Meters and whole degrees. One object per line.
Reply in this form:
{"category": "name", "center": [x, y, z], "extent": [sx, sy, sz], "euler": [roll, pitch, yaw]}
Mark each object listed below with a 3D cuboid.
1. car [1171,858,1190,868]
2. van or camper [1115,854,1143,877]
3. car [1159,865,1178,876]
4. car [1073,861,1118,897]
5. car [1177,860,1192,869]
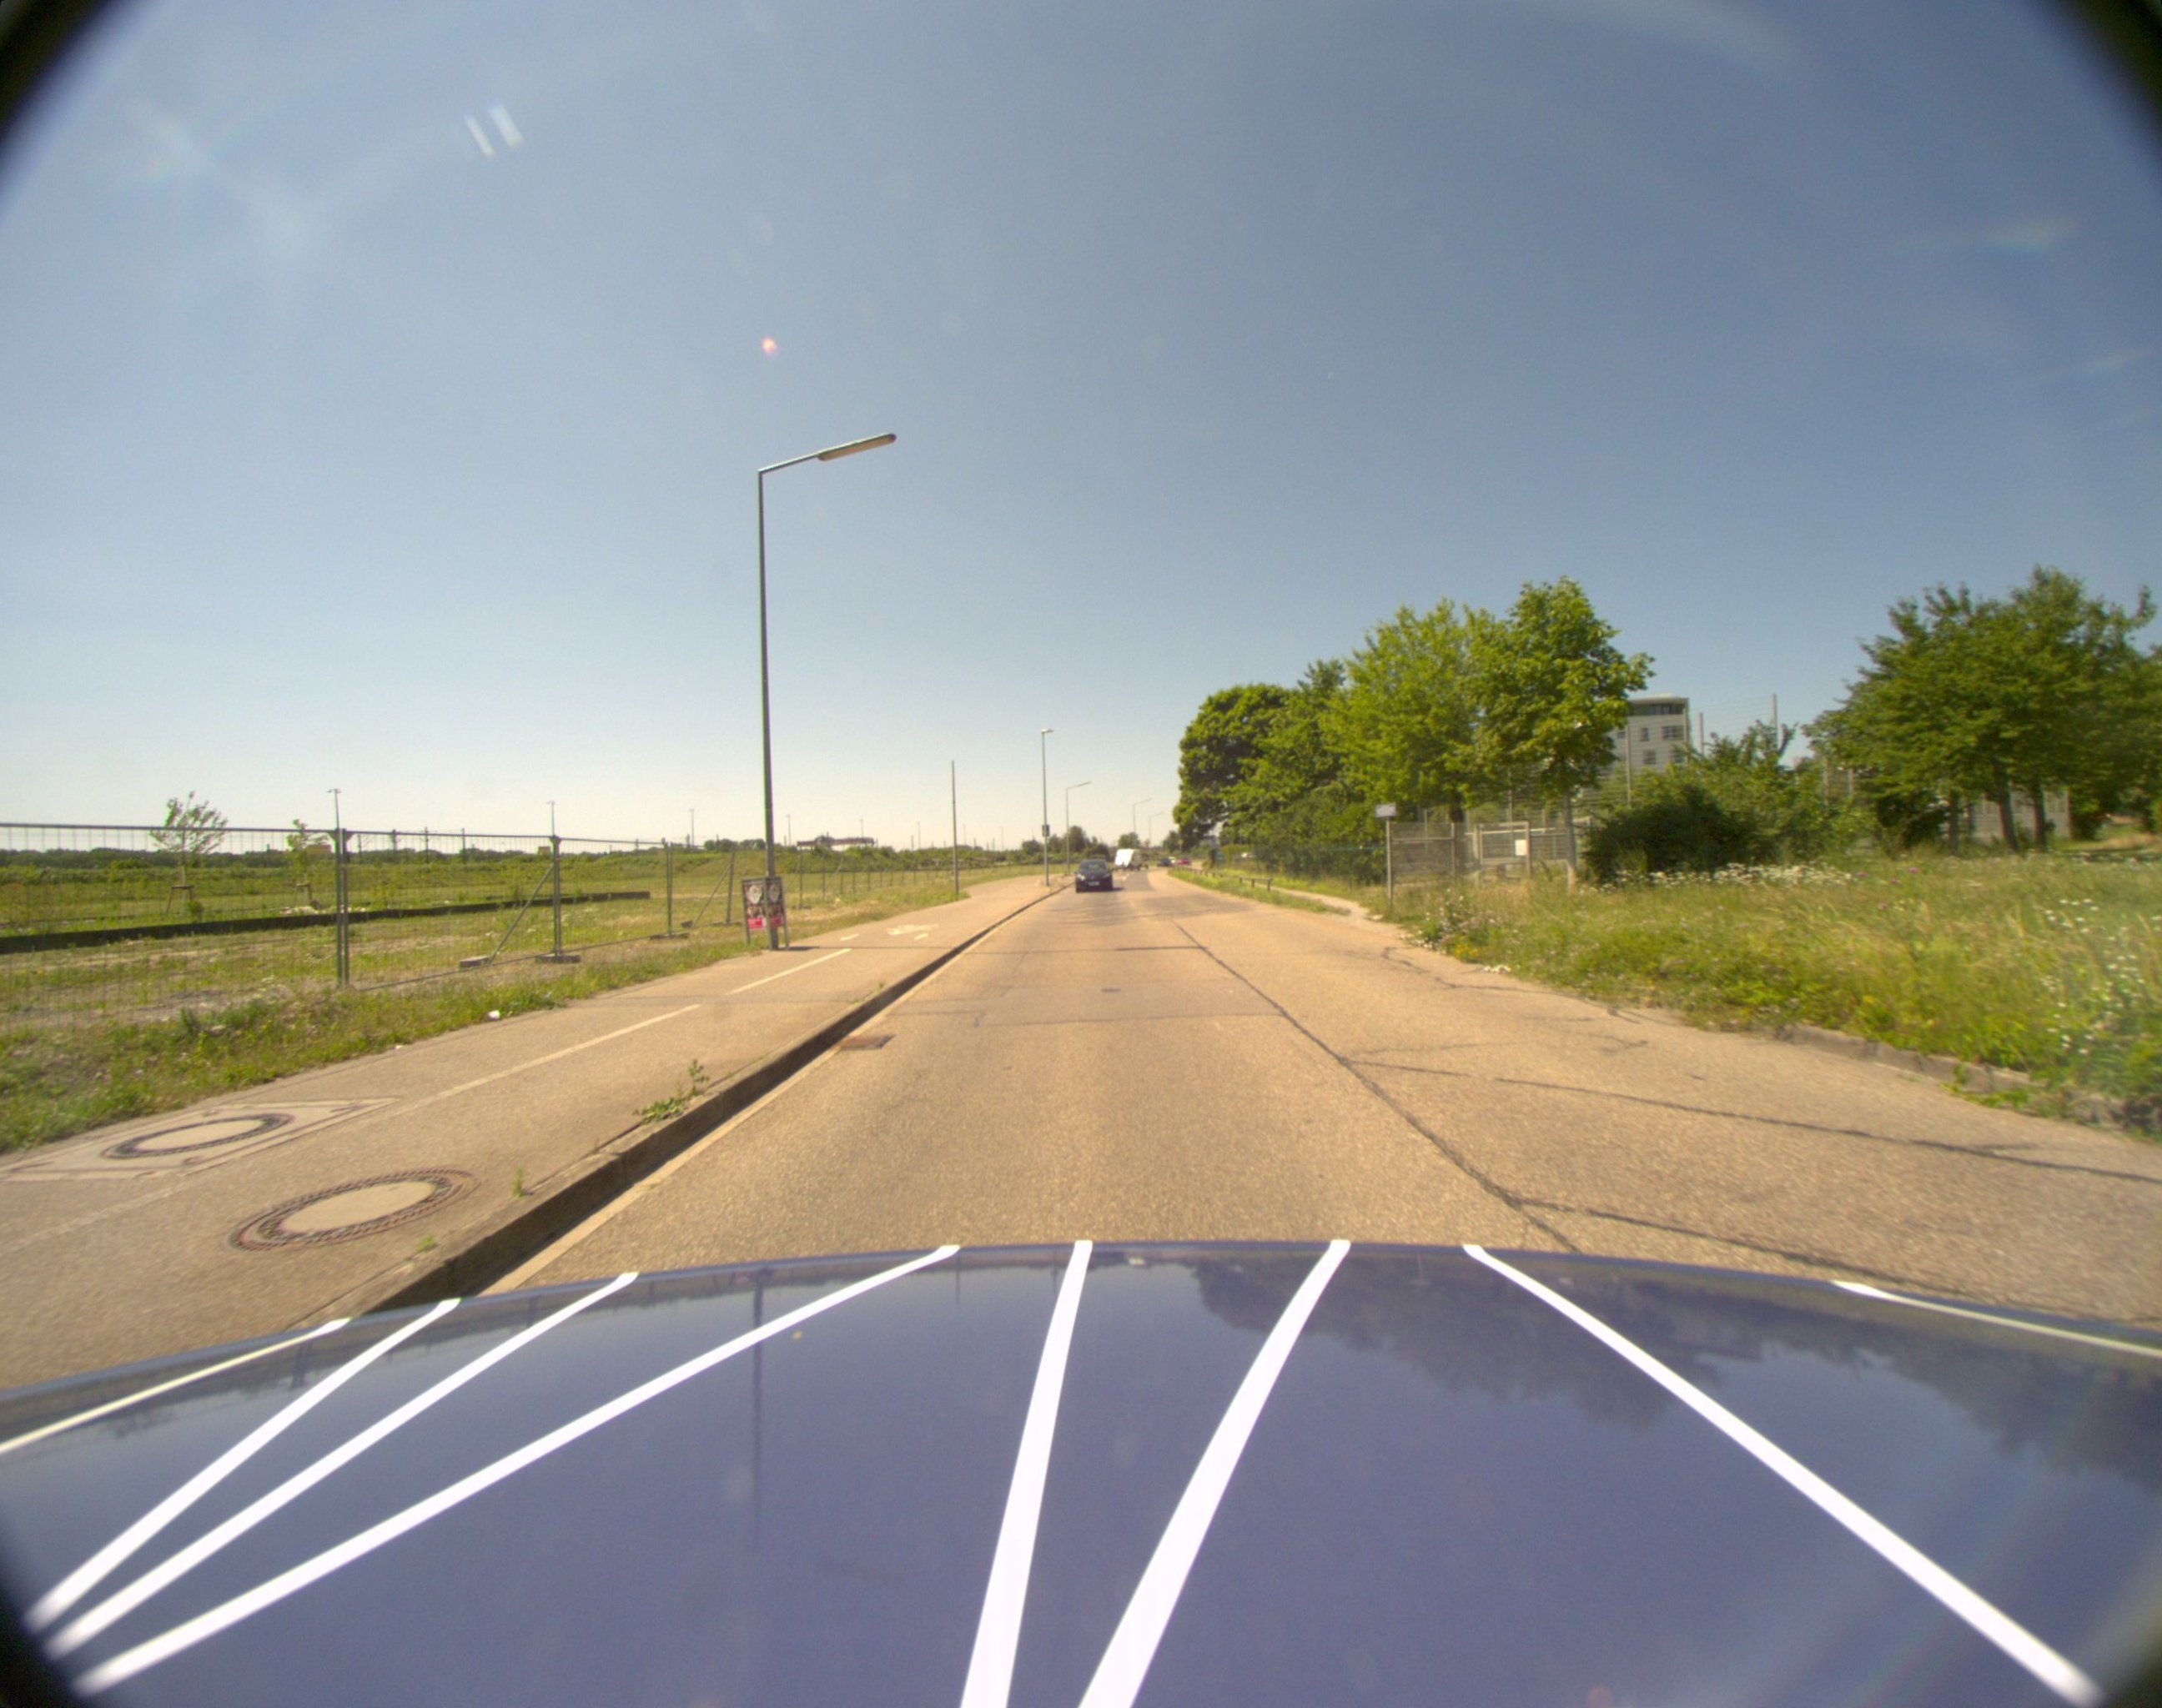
{"category": "car", "center": [15.418, 1.358, 117.403], "extent": [1.651, 1.458, 3.873], "euler": [-2, 0, 25]}
{"category": "van or camper", "center": [5.730, 1.318, 89.760], "extent": [2.139, 2.557, 5.872], "euler": [-2, 0, 14]}
{"category": "car", "center": [12.929, 2.462, 111.953], "extent": [1.651, 1.458, 3.872], "euler": [-2, 0, 24]}
{"category": "car", "center": [0.695, 1.059, 33.989], "extent": [1.653, 1.458, 4.161], "euler": [-2, 0, 5]}
{"category": "car", "center": [17.479, 1.745, 128.015], "extent": [1.651, 1.458, 3.872], "euler": [-2, 0, 22]}
